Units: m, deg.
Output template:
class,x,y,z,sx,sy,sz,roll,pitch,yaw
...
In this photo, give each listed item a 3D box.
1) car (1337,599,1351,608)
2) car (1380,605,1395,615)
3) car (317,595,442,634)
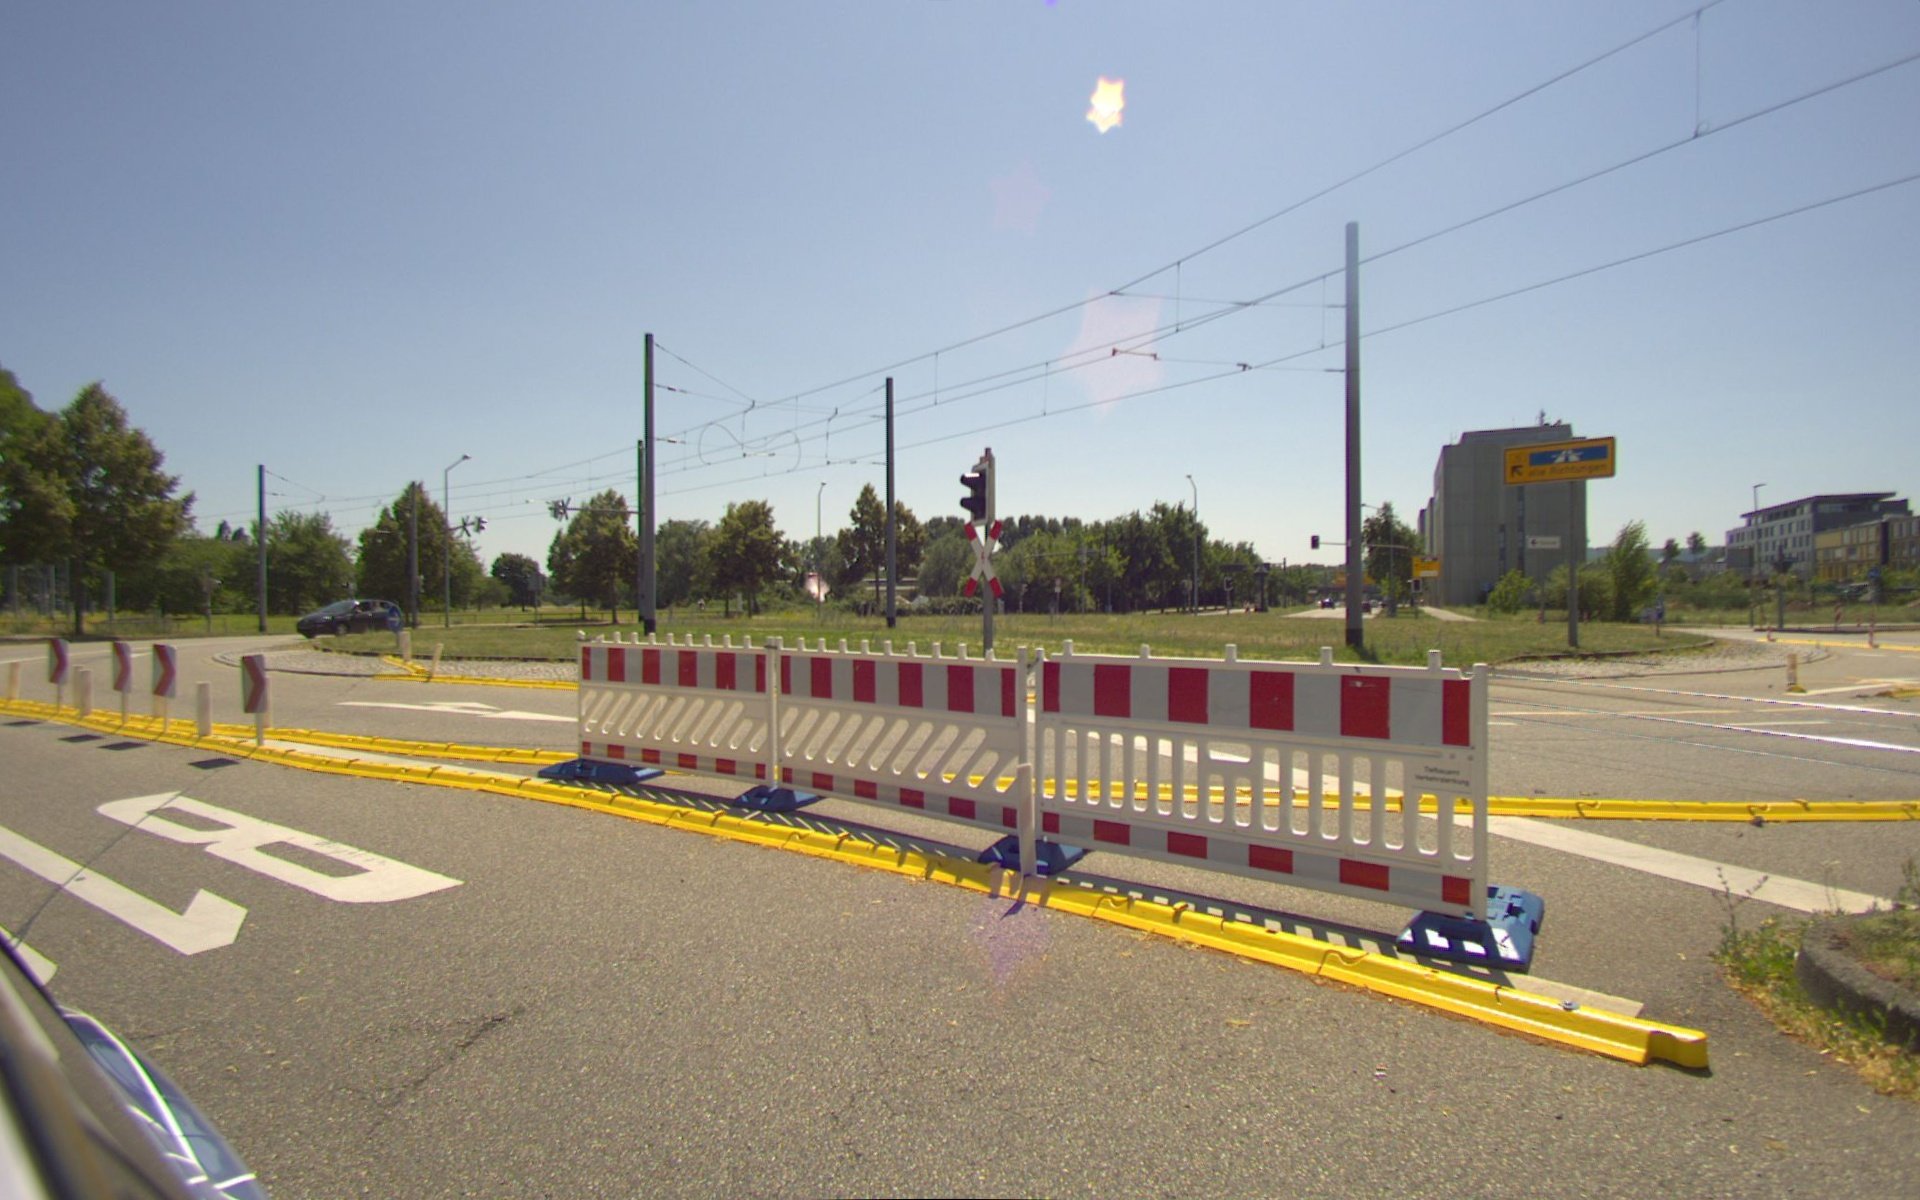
class,x,y,z,sx,sy,sz,roll,pitch,yaw
car,56.705,0.498,149.587,1.749,1.419,3.373,0,0,24
car,49.854,1.139,118.068,1.487,1.098,3.495,0,0,22
car,-22.704,0.521,39.727,1.964,1.429,3.975,0,0,19
